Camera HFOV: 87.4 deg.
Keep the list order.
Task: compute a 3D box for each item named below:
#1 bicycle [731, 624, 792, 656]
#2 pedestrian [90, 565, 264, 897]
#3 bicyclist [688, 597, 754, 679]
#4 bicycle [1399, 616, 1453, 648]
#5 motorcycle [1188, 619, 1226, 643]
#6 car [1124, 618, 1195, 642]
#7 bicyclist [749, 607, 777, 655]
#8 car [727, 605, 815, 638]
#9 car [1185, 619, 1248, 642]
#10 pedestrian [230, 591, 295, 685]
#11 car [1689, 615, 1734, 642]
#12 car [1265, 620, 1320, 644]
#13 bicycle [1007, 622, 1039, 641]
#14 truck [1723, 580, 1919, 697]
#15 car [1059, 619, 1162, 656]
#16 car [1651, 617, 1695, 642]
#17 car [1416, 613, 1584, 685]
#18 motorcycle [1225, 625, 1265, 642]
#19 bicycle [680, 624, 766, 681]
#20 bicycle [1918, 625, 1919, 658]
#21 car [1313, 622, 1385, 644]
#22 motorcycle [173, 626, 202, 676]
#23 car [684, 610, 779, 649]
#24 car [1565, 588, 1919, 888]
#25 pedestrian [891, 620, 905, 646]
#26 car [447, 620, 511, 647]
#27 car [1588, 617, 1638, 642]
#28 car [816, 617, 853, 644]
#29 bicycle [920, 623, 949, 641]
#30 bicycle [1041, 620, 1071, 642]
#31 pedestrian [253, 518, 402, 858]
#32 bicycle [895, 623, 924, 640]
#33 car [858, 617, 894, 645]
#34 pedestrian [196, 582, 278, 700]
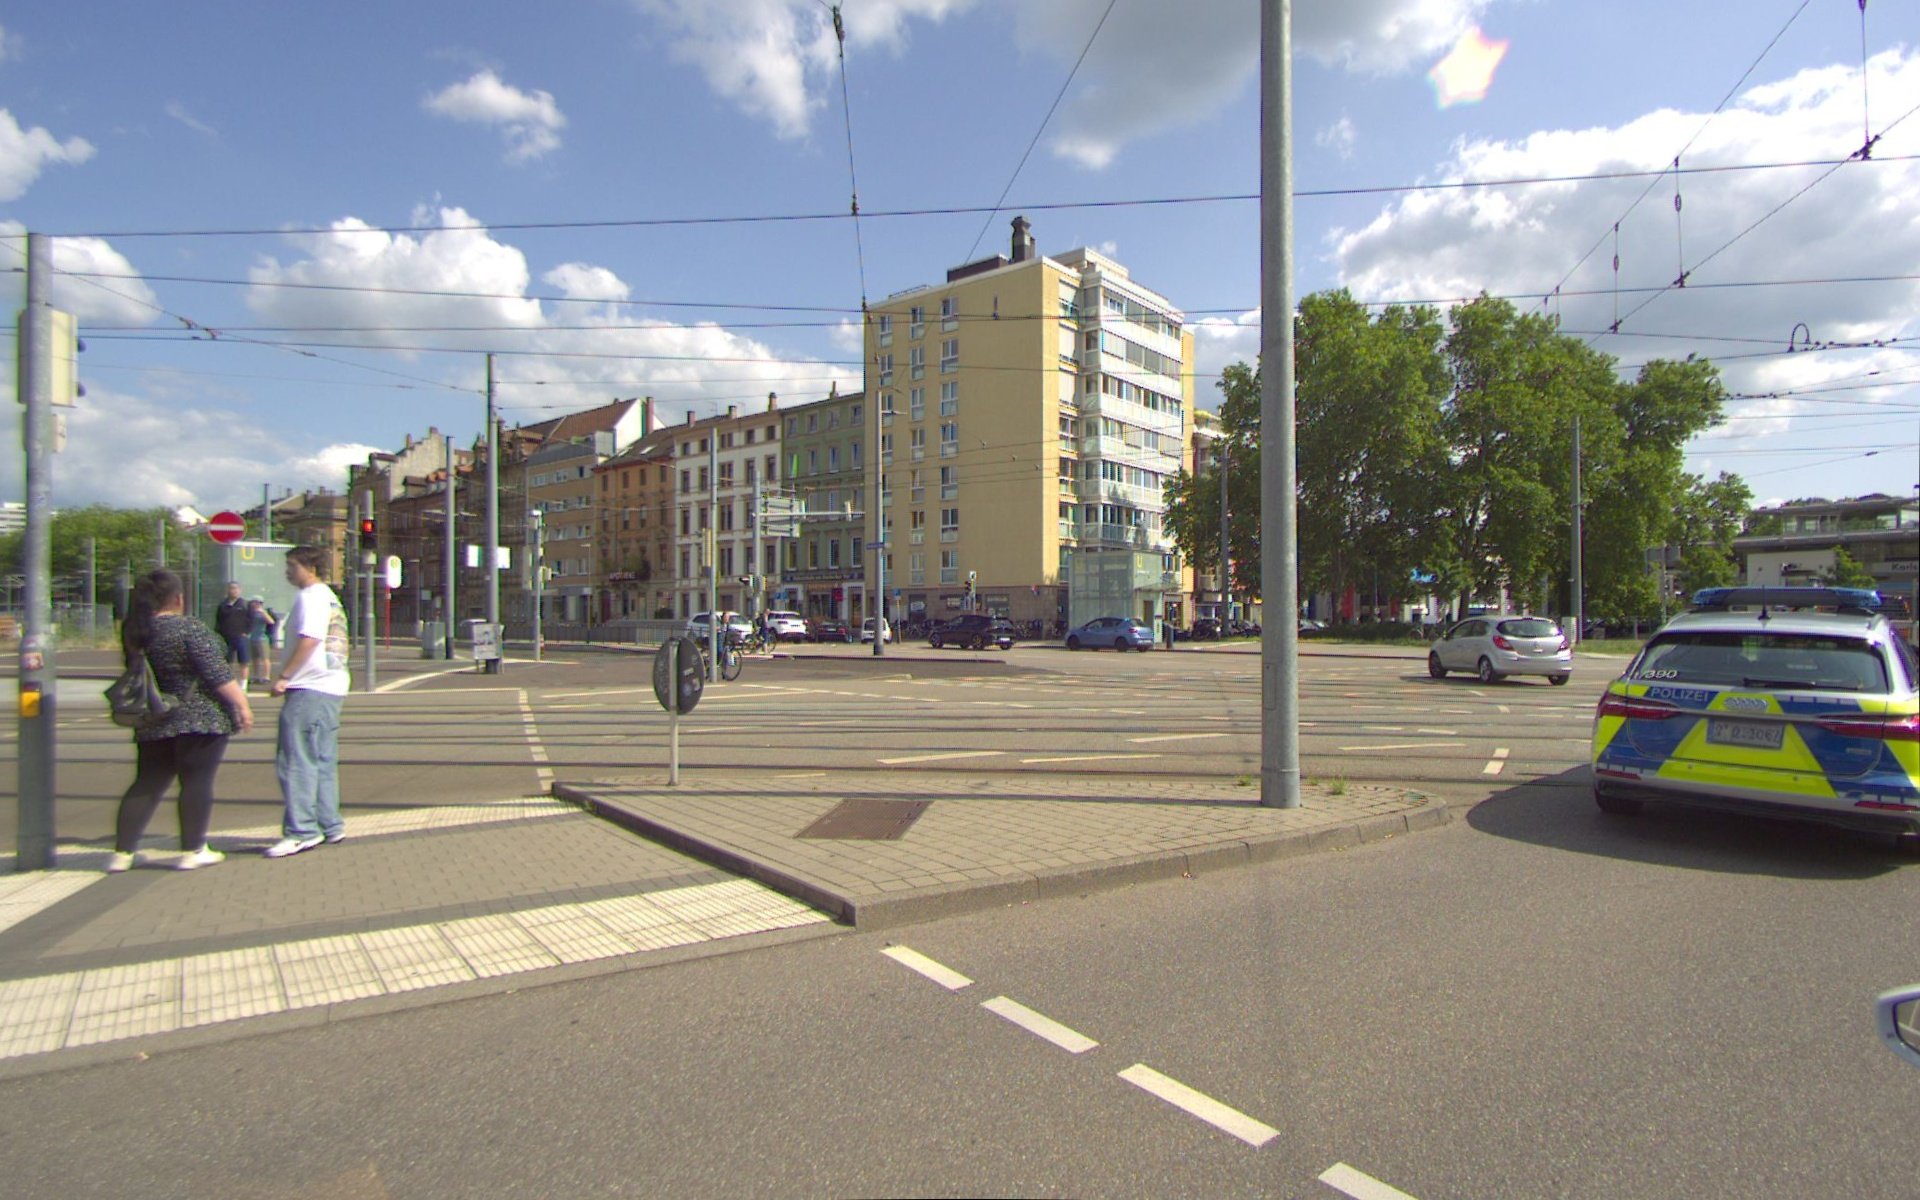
[{"bbox_3d":[-7.612,1.523,38.562,0.875,1.153,2.350,2,0,34],"label":"bicycle"},{"bbox_3d":[-4.349,0.673,5.613,0.686,1.669,0.841,1,-2,-38],"label":"pedestrian"},{"bbox_3d":[-5.326,0.849,22.357,0.987,1.754,1.287,1,-2,-39],"label":"bicyclist"},{"bbox_3d":[21.639,1.475,46.636,2.141,1.433,0.809,0,0,38],"label":"bicycle"},{"bbox_3d":[13.111,1.638,53.347,0.892,1.254,2.209,-1,-1,-19],"label":"motorcycle"},{"bbox_3d":[12.216,1.847,61.641,3.937,1.416,1.666,0,-2,38],"label":"car"},{"bbox_3d":[-7.574,1.188,38.594,0.766,1.821,0.708,2,0,33],"label":"bicyclist"},{"bbox_3d":[-9.758,1.084,51.819,4.468,1.599,2.038,0,0,38],"label":"car"},{"bbox_3d":[17.848,2.115,69.937,3.938,1.515,1.795,-1,-1,38],"label":"car"},{"bbox_3d":[-13.938,0.749,20.106,1.017,1.821,0.760,1,0,-34],"label":"pedestrian"},{"bbox_3d":[58.430,2.253,78.048,4.199,2.040,1.976,2,-4,-42],"label":"car"},{"bbox_3d":[20.625,2.004,62.265,1.884,1.432,3.981,-1,-3,41],"label":"car"},{"bbox_3d":[3.808,1.925,61.067,1.779,1.118,0.794,0,-1,34],"label":"bicycle"},{"bbox_3d":[19.307,0.786,21.492,2.299,2.184,5.856,0,-1,10],"label":"truck"},{"bbox_3d":[6.178,1.517,41.468,3.943,1.395,1.733,0,-1,42],"label":"car"},{"bbox_3d":[57.067,2.384,80.330,4.199,1.962,1.950,2,-4,-42],"label":"car"},{"bbox_3d":[12.069,1.048,22.769,1.817,1.494,4.002,0,-1,3],"label":"car"},{"bbox_3d":[16.232,1.914,57.199,2.004,0.929,0.811,-1,-1,0],"label":"motorcycle"},{"bbox_3d":[-5.287,1.140,22.310,0.987,1.204,2.275,1,-2,-39],"label":"bicycle"},{"bbox_3d":[36.002,1.502,36.624,2.119,1.208,0.758,0,-2,-23],"label":"bicycle"},{"bbox_3d":[24.221,2.064,62.623,1.619,1.344,3.956,2,-3,-39],"label":"car"},{"bbox_3d":[-19.957,1.292,25.959,0.479,1.253,1.433,1,-2,-35],"label":"motorcycle"},{"bbox_3d":[-10.300,1.321,45.075,4.223,1.661,2.033,-1,-1,40],"label":"car"},{"bbox_3d":[6.166,0.757,7.478,1.860,1.589,4.587,1,0,44],"label":"car"},{"bbox_3d":[-3.695,1.966,59.921,0.550,1.554,0.693,1,-2,-34],"label":"pedestrian"},{"bbox_3d":[-28.897,1.973,60.323,4.032,1.548,1.990,-1,-1,40],"label":"car"},{"bbox_3d":[54.990,2.508,84.583,5.024,1.962,1.953,2,-3,-38],"label":"car"},{"bbox_3d":[-7.327,1.785,59.096,1.863,1.516,3.899,1,-2,-3],"label":"car"},{"bbox_3d":[-1.647,2.075,65.574,1.779,1.118,0.794,0,-1,34],"label":"bicycle"},{"bbox_3d":[5.887,1.886,61.404,1.796,1.275,0.787,1,-1,-41],"label":"bicycle"},{"bbox_3d":[-3.975,0.516,6.297,0.686,1.942,0.841,1,-2,-38],"label":"pedestrian"},{"bbox_3d":[-3.341,2.098,66.690,1.779,1.118,0.794,0,-1,34],"label":"bicycle"},{"bbox_3d":[-4.867,1.805,58.444,1.863,1.516,3.899,1,-2,-2],"label":"car"},{"bbox_3d":[-12.283,0.679,17.078,0.752,1.928,0.826,2,0,22],"label":"pedestrian"}]
